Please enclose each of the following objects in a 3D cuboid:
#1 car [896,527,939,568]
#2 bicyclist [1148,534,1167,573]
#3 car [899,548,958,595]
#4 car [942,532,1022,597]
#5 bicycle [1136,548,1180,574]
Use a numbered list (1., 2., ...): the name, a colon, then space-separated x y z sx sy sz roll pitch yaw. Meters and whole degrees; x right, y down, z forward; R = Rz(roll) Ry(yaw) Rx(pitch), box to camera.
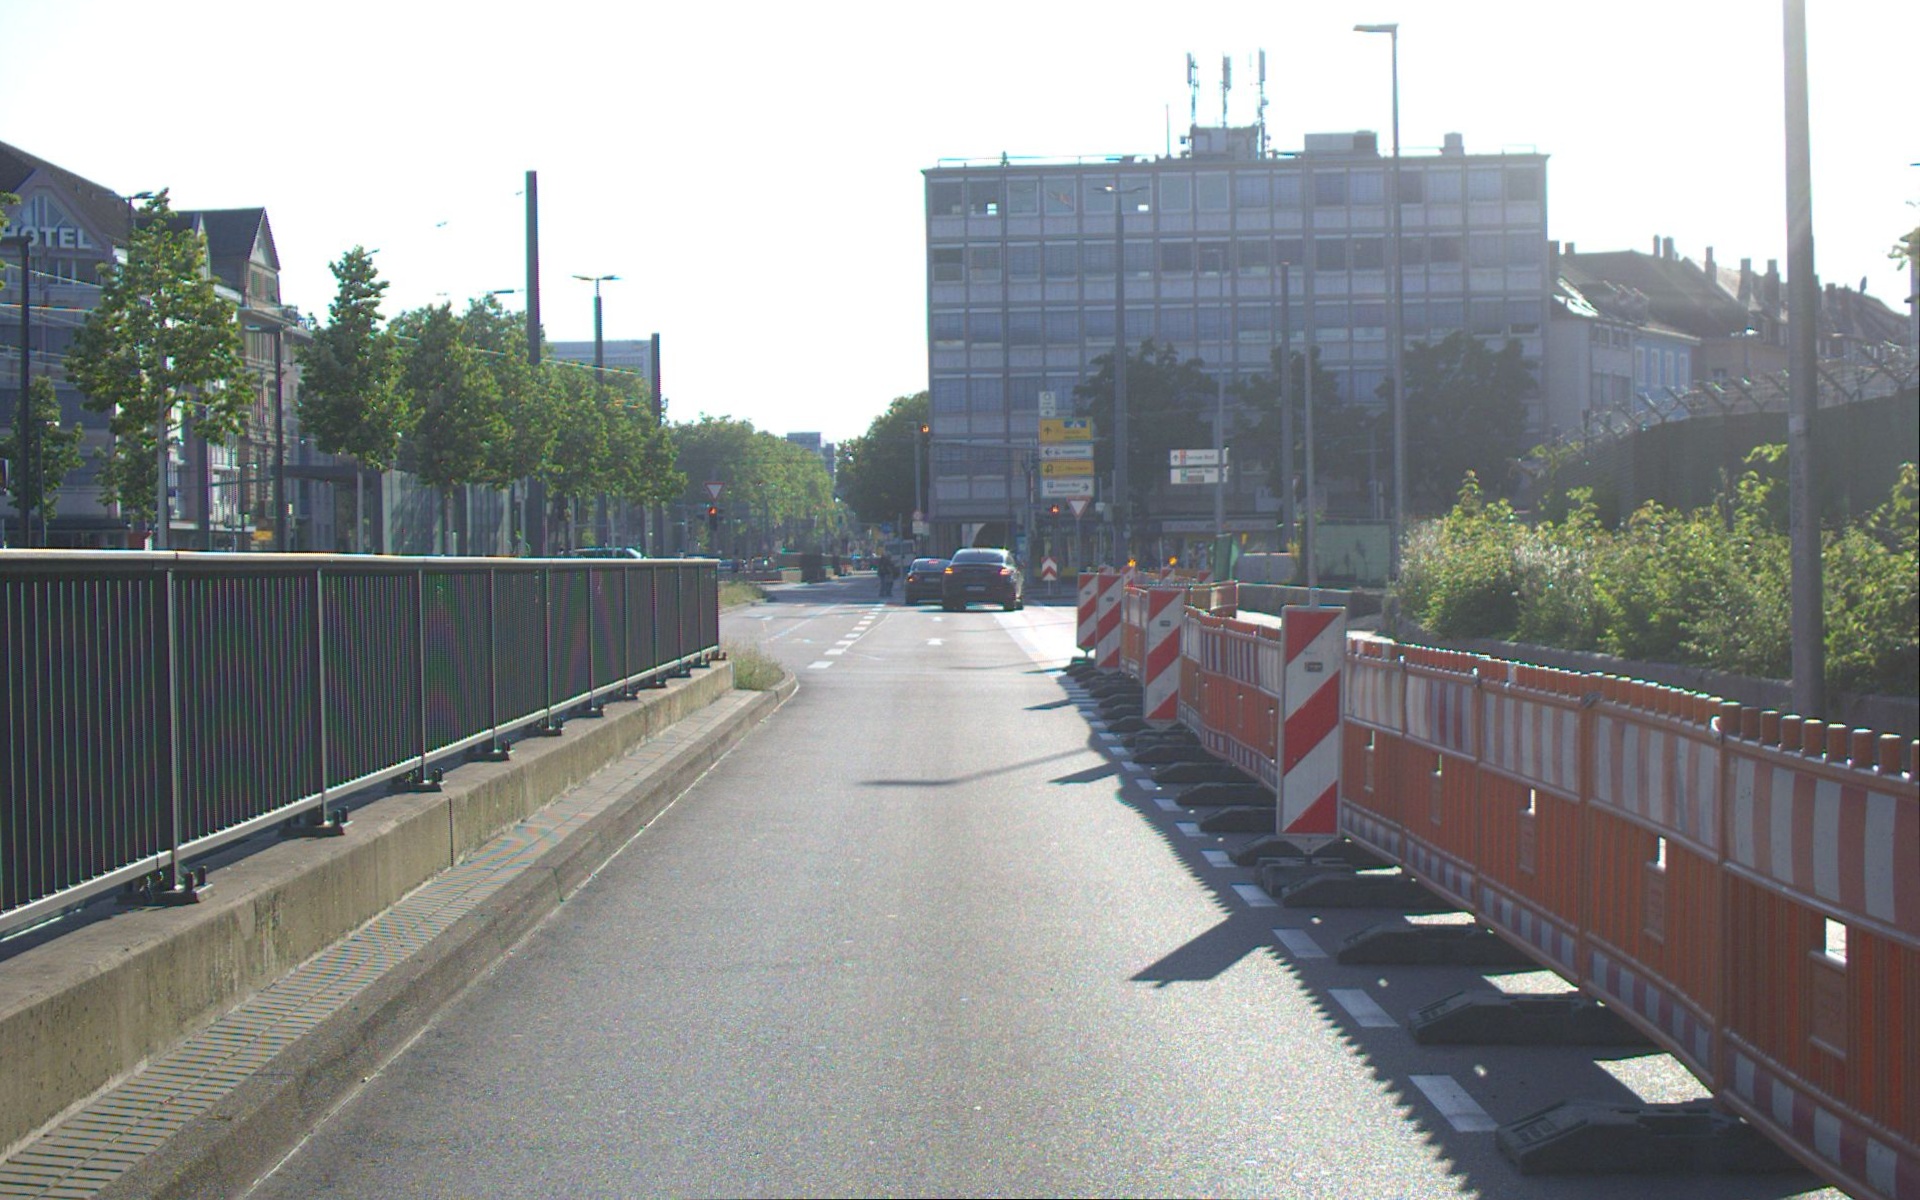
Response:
1. car: -2.617 -3.202 211.687 2.486 2.384 5.935 -2 0 -1
2. bicyclist: 8.597 -2.025 149.505 0.663 1.706 0.538 -1 1 -10
3. car: -1.000 -0.890 107.301 1.743 1.421 4.000 0 1 -2
4. car: 0.627 -1.013 96.059 1.994 1.687 4.000 1 2 3
5. bicycle: 8.610 -1.706 149.509 1.775 1.068 0.535 -1 1 -10
